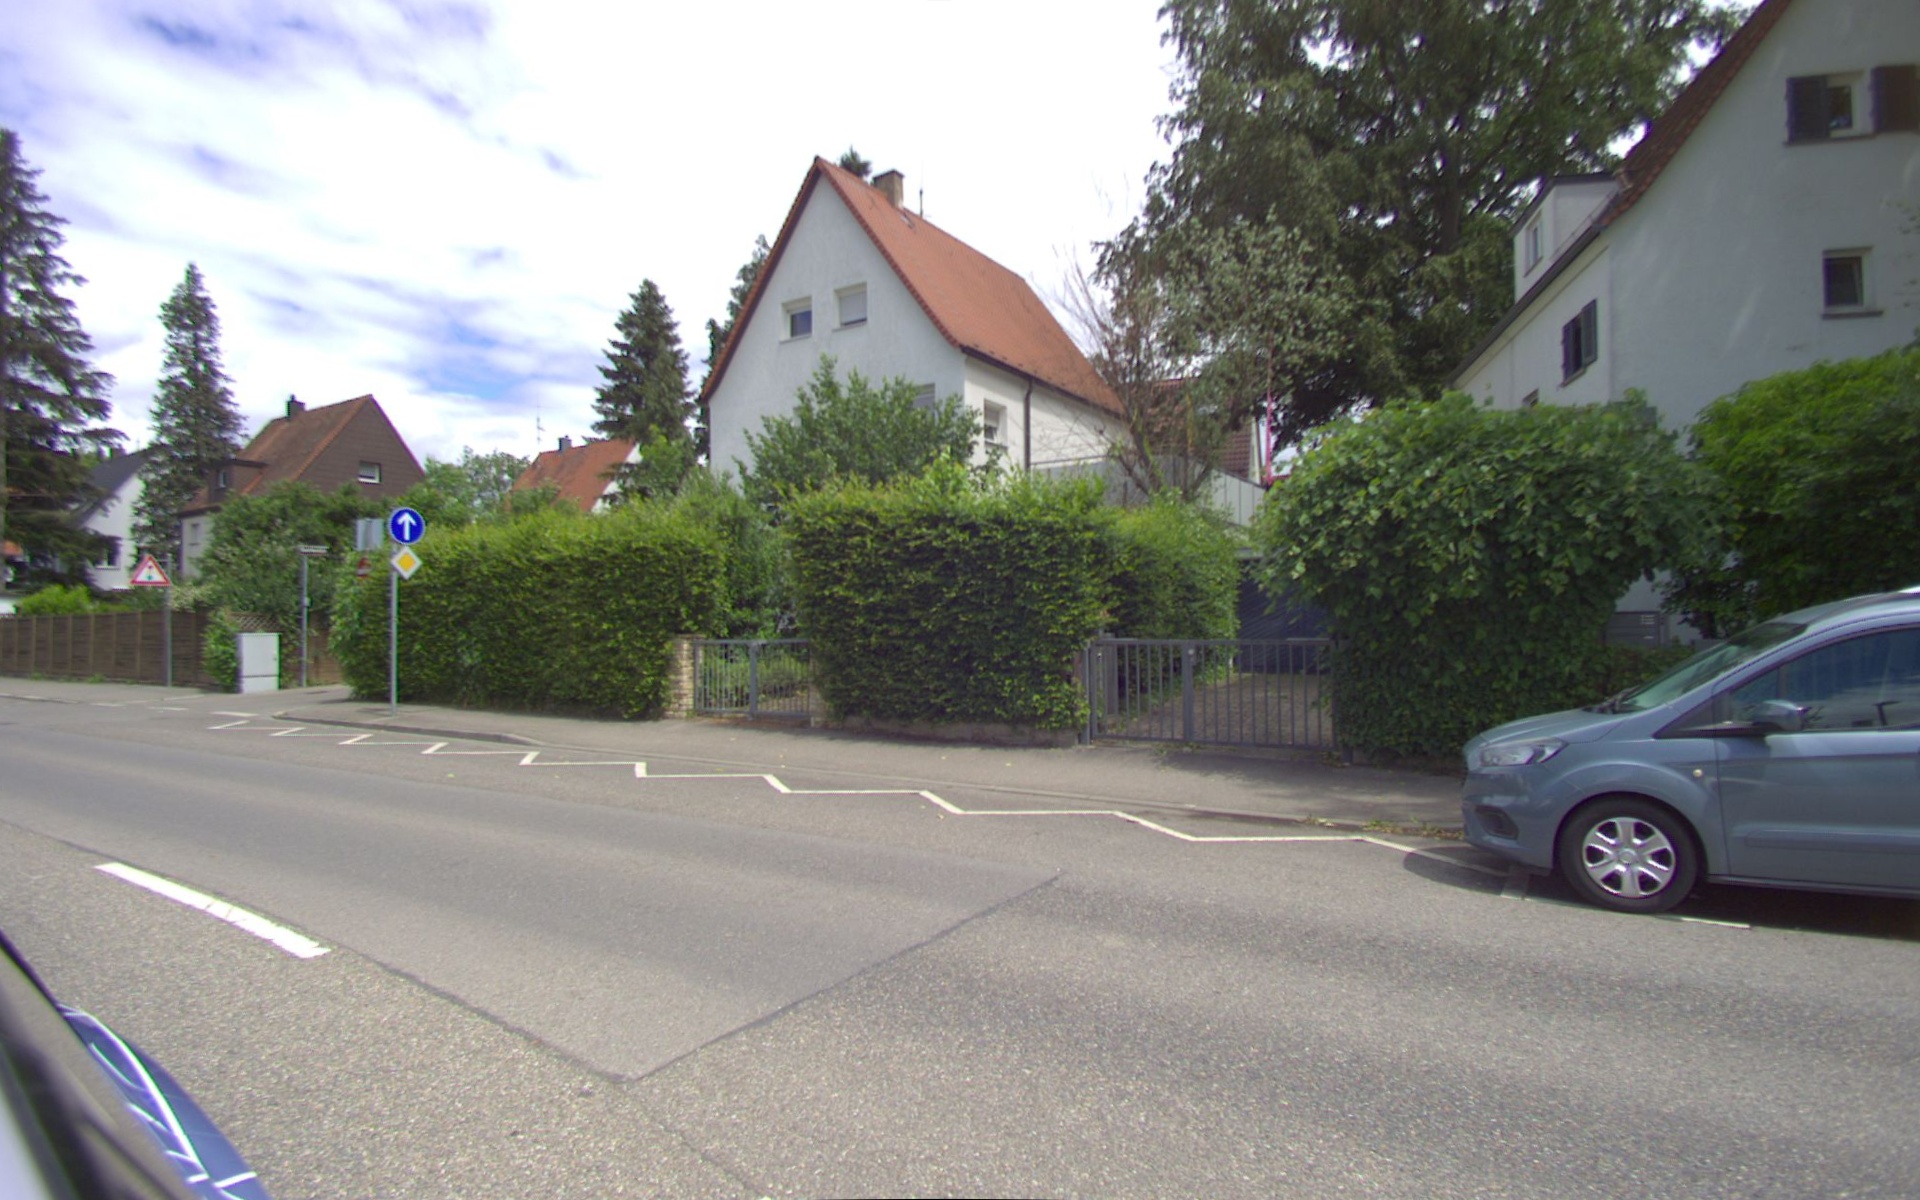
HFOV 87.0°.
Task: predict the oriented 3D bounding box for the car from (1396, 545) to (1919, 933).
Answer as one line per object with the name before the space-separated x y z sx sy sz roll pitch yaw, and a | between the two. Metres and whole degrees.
car | 4.904 0.635 5.603 4.441 1.786 2.120 -2 -1 27
